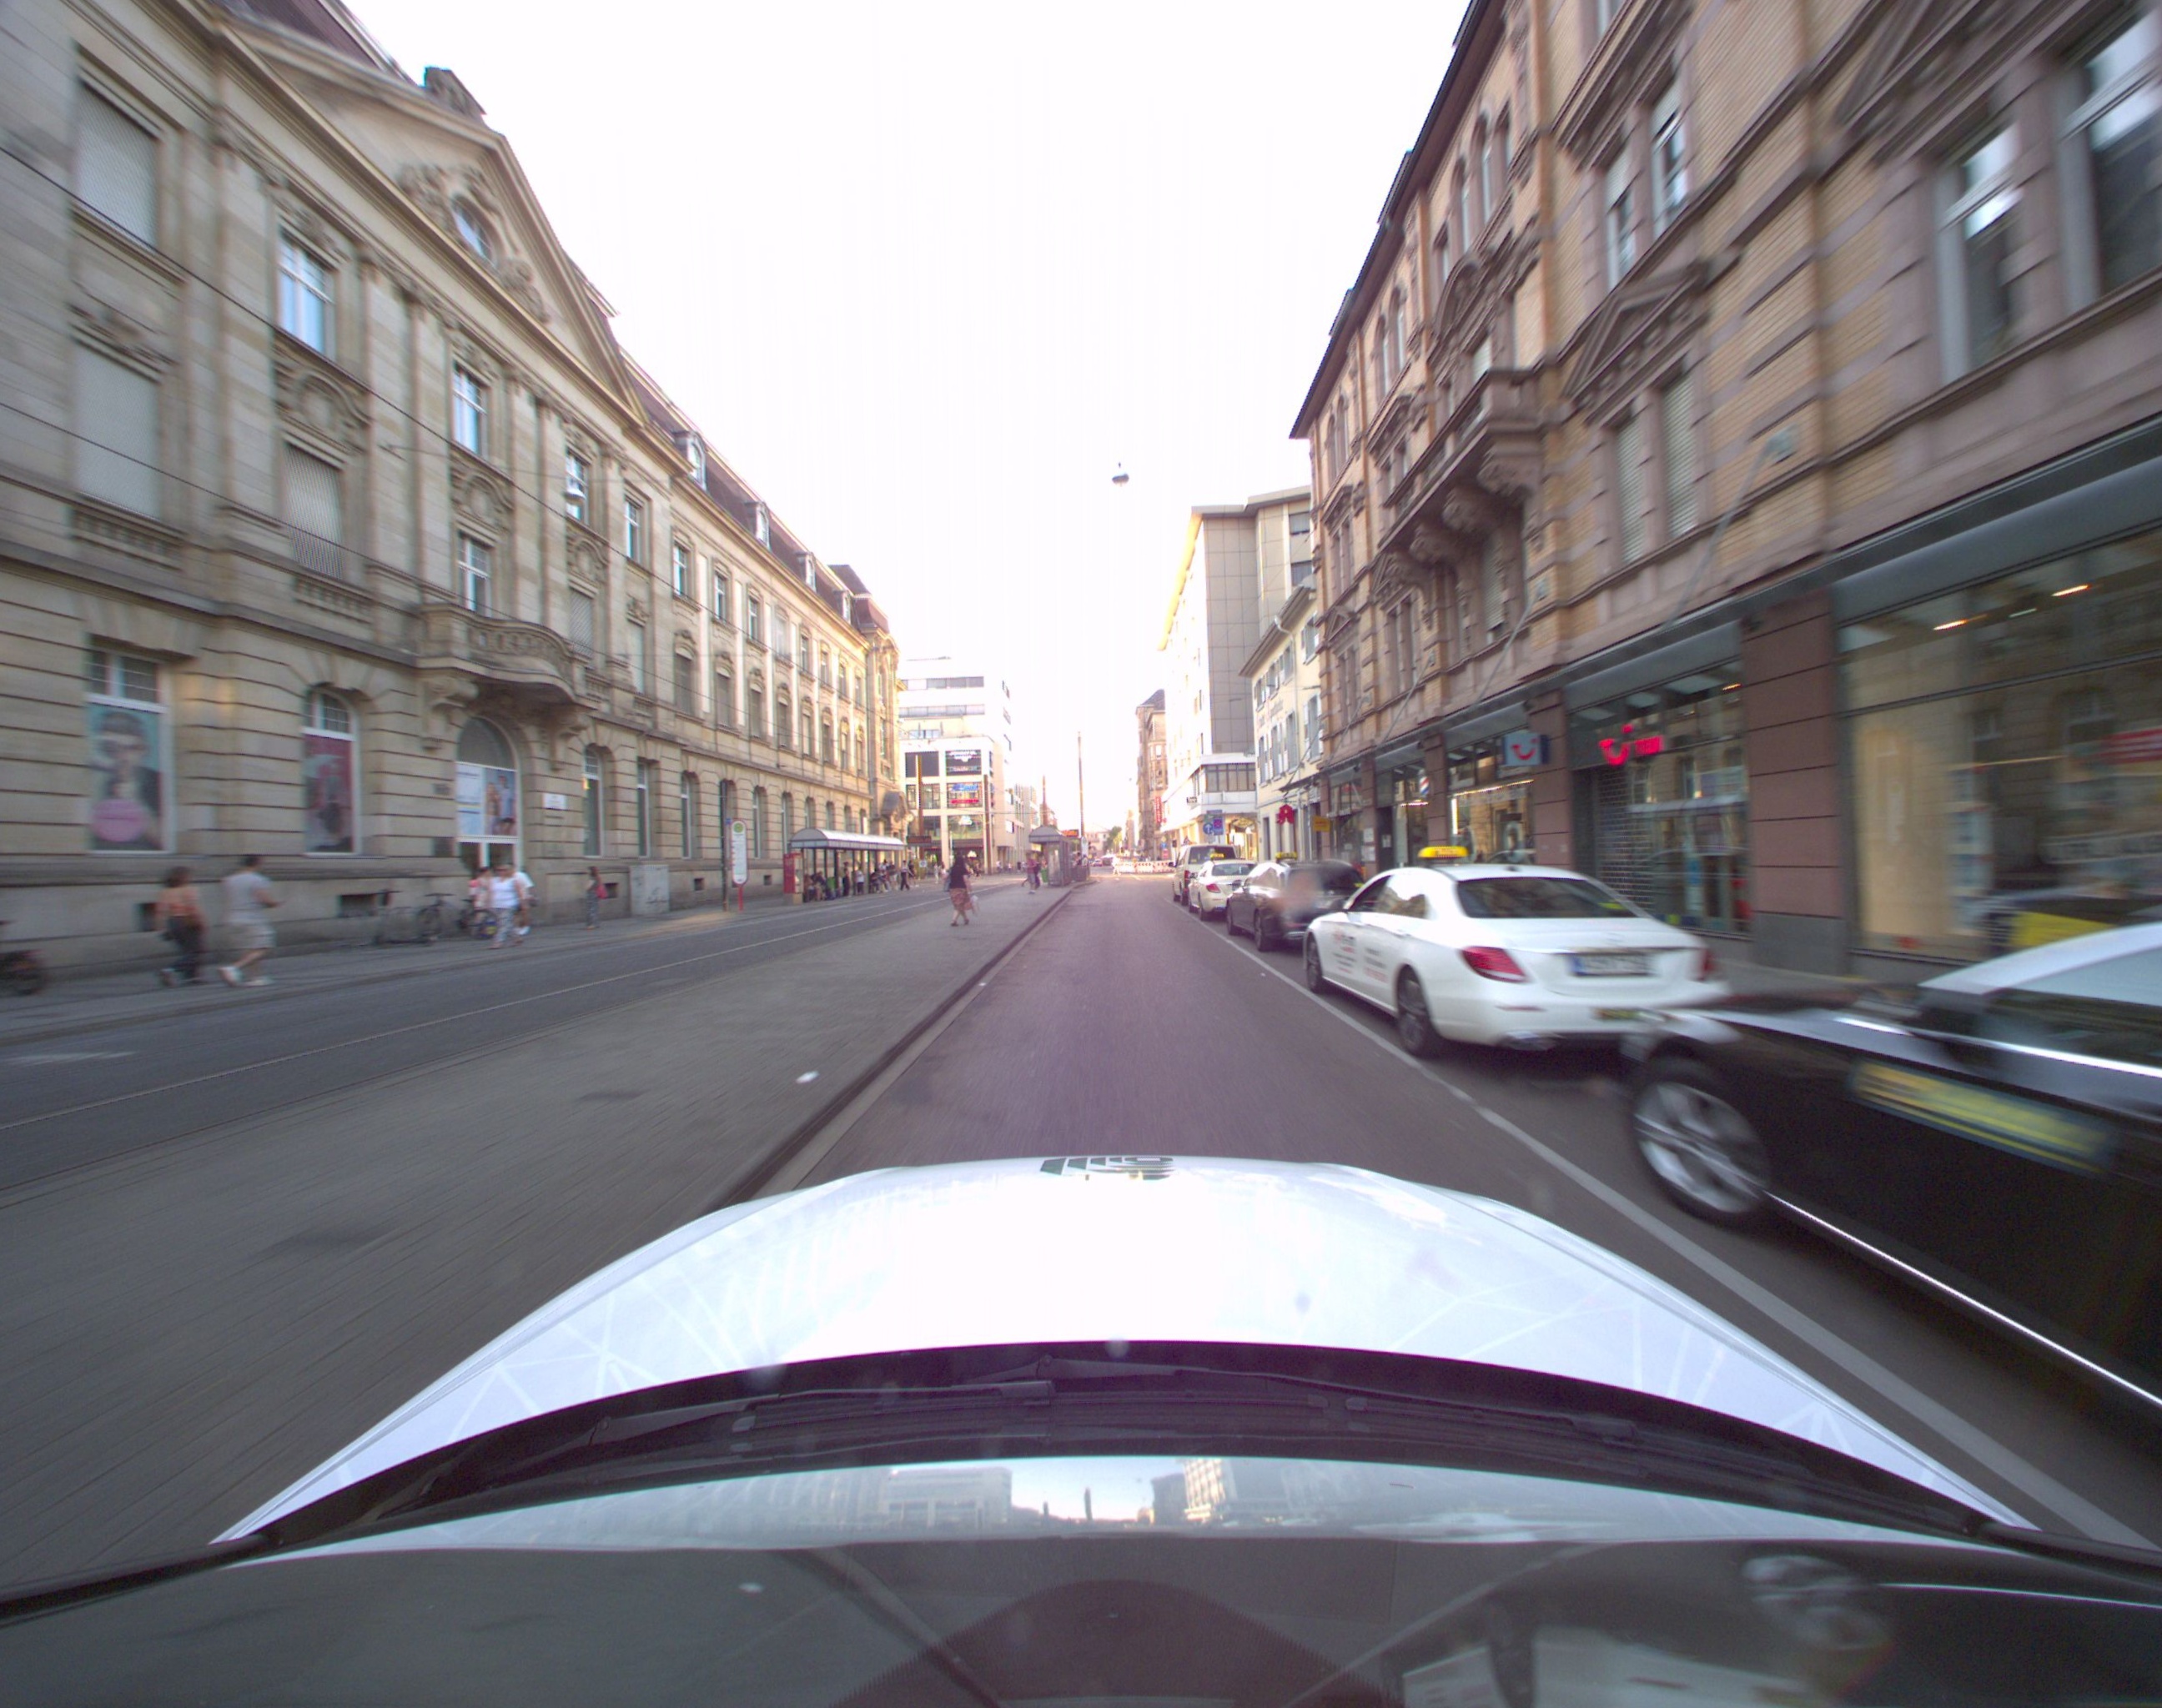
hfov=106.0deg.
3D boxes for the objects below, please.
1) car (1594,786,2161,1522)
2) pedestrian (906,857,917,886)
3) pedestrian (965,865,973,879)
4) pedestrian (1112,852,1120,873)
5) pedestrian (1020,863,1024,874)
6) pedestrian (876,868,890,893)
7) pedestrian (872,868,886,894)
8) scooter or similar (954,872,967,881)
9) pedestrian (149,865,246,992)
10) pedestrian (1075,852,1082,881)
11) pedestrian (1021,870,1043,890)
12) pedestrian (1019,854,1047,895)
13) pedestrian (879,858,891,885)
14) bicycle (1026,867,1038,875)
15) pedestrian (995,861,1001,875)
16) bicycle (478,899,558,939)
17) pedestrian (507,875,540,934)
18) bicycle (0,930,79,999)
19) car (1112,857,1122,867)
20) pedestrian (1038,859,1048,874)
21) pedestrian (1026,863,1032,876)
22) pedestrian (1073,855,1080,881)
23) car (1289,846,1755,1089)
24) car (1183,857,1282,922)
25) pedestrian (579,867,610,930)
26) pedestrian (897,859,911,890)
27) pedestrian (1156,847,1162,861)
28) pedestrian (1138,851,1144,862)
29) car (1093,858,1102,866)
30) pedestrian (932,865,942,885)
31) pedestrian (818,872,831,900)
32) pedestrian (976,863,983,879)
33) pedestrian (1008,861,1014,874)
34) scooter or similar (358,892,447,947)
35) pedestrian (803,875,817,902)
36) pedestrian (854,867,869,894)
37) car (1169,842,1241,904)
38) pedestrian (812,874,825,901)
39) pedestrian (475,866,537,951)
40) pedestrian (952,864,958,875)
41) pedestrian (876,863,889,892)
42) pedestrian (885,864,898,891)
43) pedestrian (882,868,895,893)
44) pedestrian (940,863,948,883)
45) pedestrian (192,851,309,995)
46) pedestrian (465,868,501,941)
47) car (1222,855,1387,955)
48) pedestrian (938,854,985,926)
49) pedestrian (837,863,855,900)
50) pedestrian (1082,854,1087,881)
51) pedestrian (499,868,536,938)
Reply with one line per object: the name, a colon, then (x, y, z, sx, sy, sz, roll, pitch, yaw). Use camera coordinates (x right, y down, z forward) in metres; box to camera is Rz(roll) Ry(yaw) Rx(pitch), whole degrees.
car: (3.197, 0.650, 1.706, 1.725, 1.590, 4.447, 0, -1, 4)
pedestrian: (-10.531, 1.104, 50.570, 0.558, 1.776, 0.468, -1, -1, -3)
pedestrian: (-11.622, 1.862, 84.475, 0.636, 1.420, 0.419, -2, -1, 3)
pedestrian: (3.138, 0.772, 72.925, 0.696, 1.815, 0.852, -1, -1, 3)
pedestrian: (-7.910, 1.926, 109.117, 0.388, 1.515, 0.505, -2, -1, 0)
pedestrian: (-10.601, 1.428, 43.554, 0.515, 1.327, 0.639, -2, -2, 5)
pedestrian: (-10.622, 1.416, 42.786, 0.515, 1.327, 0.639, -2, -2, 5)
scooter or similar: (-12.445, 2.331, 84.149, 1.089, 0.904, 0.891, -2, -1, 2)
pedestrian: (-12.538, 1.023, 11.565, 0.685, 1.712, 0.820, -2, -1, 33)
pedestrian: (-0.134, 0.764, 49.760, 0.411, 1.767, 0.594, -1, -1, -1)
pedestrian: (-2.305, 1.217, 38.294, 0.791, 0.939, 0.697, -2, -1, 24)
pedestrian: (-1.964, 0.815, 33.240, 0.679, 1.638, 0.866, -2, -1, 42)
pedestrian: (-13.496, 1.191, 56.001, 0.619, 1.776, 0.705, -1, -1, -2)
bicycle: (-7.009, 2.360, 115.997, 1.689, 1.122, 0.451, -1, -1, 3)
pedestrian: (-11.343, 1.874, 110.941, 0.569, 1.855, 0.819, -1, -1, 13)
bicycle: (-12.836, 1.484, 18.568, 1.567, 0.874, 0.451, -1, -1, 6)
pedestrian: (-13.925, 1.255, 20.330, 0.435, 1.440, 0.575, -2, -2, 38)
bicycle: (-14.562, 1.493, 11.030, 1.567, 0.874, 0.451, -1, -1, 6)
car: (6.308, 1.493, 143.448, 1.673, 1.613, 4.028, -3, -1, 1)
pedestrian: (-4.042, 1.343, 87.097, 0.773, 1.614, 0.662, -2, -1, -24)
pedestrian: (-7.016, 2.113, 109.707, 0.780, 1.751, 0.600, -1, -1, -2)
pedestrian: (-0.297, 0.896, 52.772, 0.384, 1.642, 0.549, -1, -1, -1)
car: (3.372, 0.747, 7.520, 1.726, 1.511, 4.865, 0, -1, 1)
car: (3.783, 0.820, 21.098, 1.799, 1.483, 4.779, 0, 0, 1)
pedestrian: (-12.577, 1.143, 21.051, 0.565, 1.605, 0.443, -1, -1, 25)
pedestrian: (-9.737, 1.117, 44.850, 0.674, 1.691, 0.636, -1, -2, -9)
pedestrian: (9.910, 0.004, 103.661, 0.623, 1.690, 0.671, -2, -1, -1)
pedestrian: (8.749, 0.342, 118.279, 0.709, 1.611, 0.821, -1, -1, -1)
car: (3.859, 1.906, 188.098, 1.986, 1.904, 4.000, -1, -1, 1)
pedestrian: (-11.204, 1.649, 63.369, 0.514, 1.525, 0.504, -2, -1, 20)
pedestrian: (-10.915, 1.350, 34.702, 0.362, 1.200, 0.430, -1, -1, 7)
pedestrian: (-10.311, 1.683, 82.846, 0.568, 1.593, 0.448, -2, -1, -2)
pedestrian: (-8.722, 1.693, 101.746, 0.644, 1.674, 0.531, -2, -1, 9)
scooter or similar: (-13.865, 1.337, 16.651, 1.539, 1.068, 0.451, -1, -1, 6)
pedestrian: (-11.068, 1.397, 33.272, 0.362, 1.103, 0.430, -1, -1, 7)
pedestrian: (-10.839, 1.312, 40.179, 0.515, 1.327, 0.639, -2, -2, 5)
car: (4.125, 0.632, 27.796, 1.870, 1.923, 4.700, 0, -1, 1)
pedestrian: (-10.895, 1.404, 33.855, 0.362, 1.103, 0.430, -1, -1, 7)
pedestrian: (-11.043, 1.031, 15.661, 0.657, 1.562, 0.680, -2, -1, 1)
pedestrian: (-17.703, 2.172, 114.238, 0.569, 1.526, 0.793, -1, -1, 13)
pedestrian: (-11.408, 1.334, 46.736, 0.515, 1.646, 0.639, -2, -2, 5)
pedestrian: (-11.039, 1.358, 47.496, 0.515, 1.569, 0.639, -2, -2, 5)
pedestrian: (-10.502, 1.441, 44.423, 0.515, 1.327, 0.639, -2, -2, 5)
pedestrian: (-10.575, 1.497, 62.787, 0.526, 1.525, 0.500, -1, -1, -13)
pedestrian: (-10.917, 0.880, 10.731, 0.687, 1.813, 0.817, -2, -1, 12)
pedestrian: (-13.808, 1.154, 18.800, 0.333, 1.642, 0.607, -1, -1, 9)
car: (3.741, 0.802, 14.549, 1.720, 1.477, 4.821, -1, -1, 1)
pedestrian: (-2.592, 0.773, 17.768, 0.843, 1.501, 0.901, -2, -1, 1)
pedestrian: (-10.851, 1.269, 37.610, 0.513, 1.650, 0.641, -2, -2, 23)
pedestrian: (0.242, 0.935, 55.584, 0.340, 1.796, 0.544, -1, -1, -1)
pedestrian: (-13.317, 1.147, 19.258, 0.473, 1.642, 0.563, -1, -1, 6)
